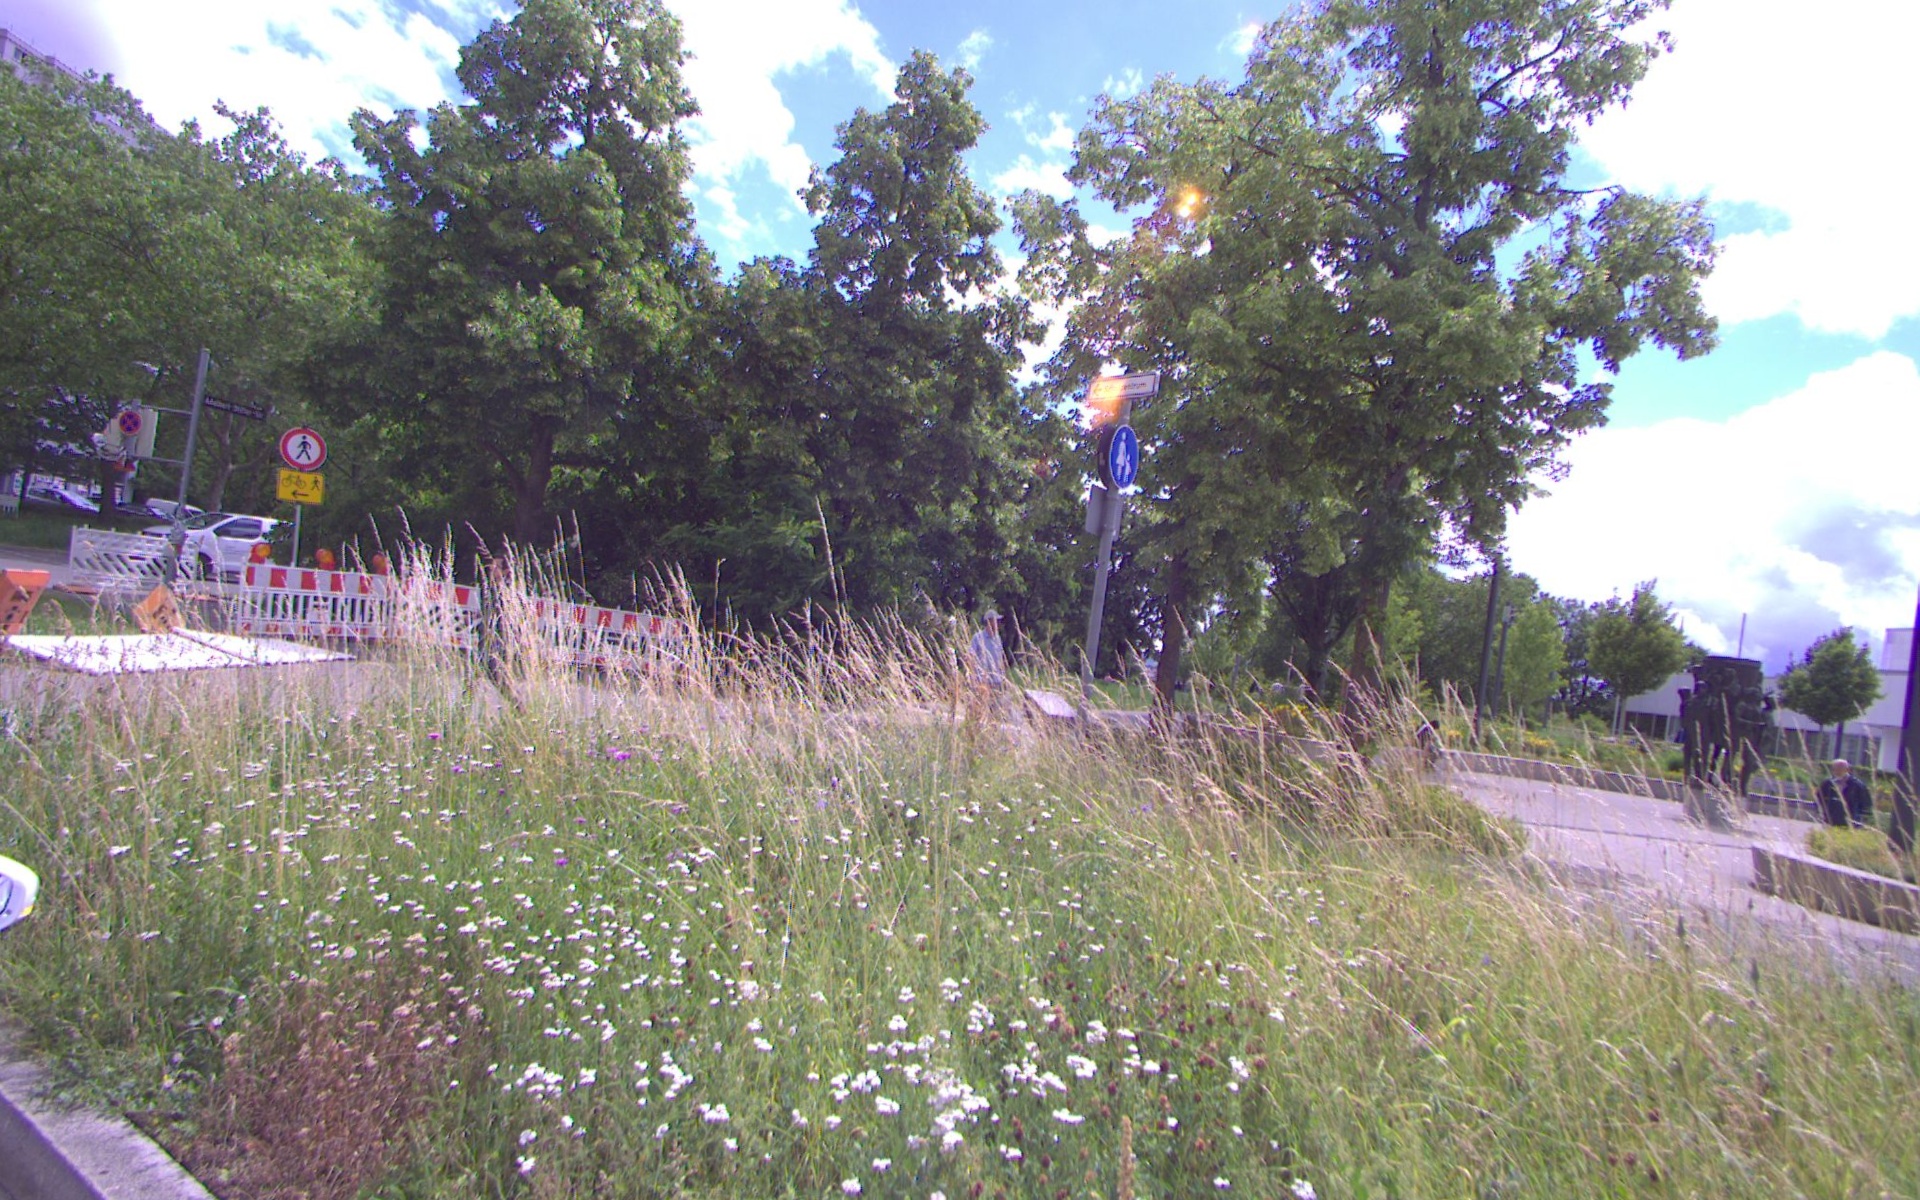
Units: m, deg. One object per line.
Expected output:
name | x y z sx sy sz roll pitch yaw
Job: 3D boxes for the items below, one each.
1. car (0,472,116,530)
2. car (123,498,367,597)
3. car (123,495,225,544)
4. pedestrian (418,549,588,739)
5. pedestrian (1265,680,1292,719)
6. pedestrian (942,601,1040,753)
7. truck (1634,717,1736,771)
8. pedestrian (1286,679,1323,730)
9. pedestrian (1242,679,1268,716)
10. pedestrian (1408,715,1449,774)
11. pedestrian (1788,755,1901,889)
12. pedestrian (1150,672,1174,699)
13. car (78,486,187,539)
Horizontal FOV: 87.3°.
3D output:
car | -43.690 -4.773 48.568 3.926 2.037 2.001 8 -1 0
car | -19.714 -1.383 28.046 1.915 1.895 5.090 7 -2 28
car | -44.238 -4.524 56.687 3.926 2.037 2.001 8 -1 0
pedestrian | -4.179 0.406 9.237 0.829 1.570 0.948 7 -1 28
pedestrian | 15.354 4.799 48.536 0.879 1.732 0.817 8 -1 30
pedestrian | 0.405 1.008 13.124 0.753 1.862 0.769 7 -1 39
truck | 37.322 7.401 51.912 1.965 2.037 3.999 8 -1 -4
pedestrian | 14.918 4.529 43.548 1.137 2.037 0.817 8 0 30
pedestrian | 14.422 4.754 49.147 0.872 1.681 0.817 8 -1 30
pedestrian | 10.782 3.313 23.140 0.623 1.236 0.618 7 -1 36
pedestrian | 12.195 3.053 13.889 0.754 1.644 0.768 8 -1 -21
pedestrian | 12.878 5.435 64.094 1.135 1.571 0.818 8 -1 -2
car | -43.783 -4.597 53.284 3.926 2.037 2.001 8 -1 0
